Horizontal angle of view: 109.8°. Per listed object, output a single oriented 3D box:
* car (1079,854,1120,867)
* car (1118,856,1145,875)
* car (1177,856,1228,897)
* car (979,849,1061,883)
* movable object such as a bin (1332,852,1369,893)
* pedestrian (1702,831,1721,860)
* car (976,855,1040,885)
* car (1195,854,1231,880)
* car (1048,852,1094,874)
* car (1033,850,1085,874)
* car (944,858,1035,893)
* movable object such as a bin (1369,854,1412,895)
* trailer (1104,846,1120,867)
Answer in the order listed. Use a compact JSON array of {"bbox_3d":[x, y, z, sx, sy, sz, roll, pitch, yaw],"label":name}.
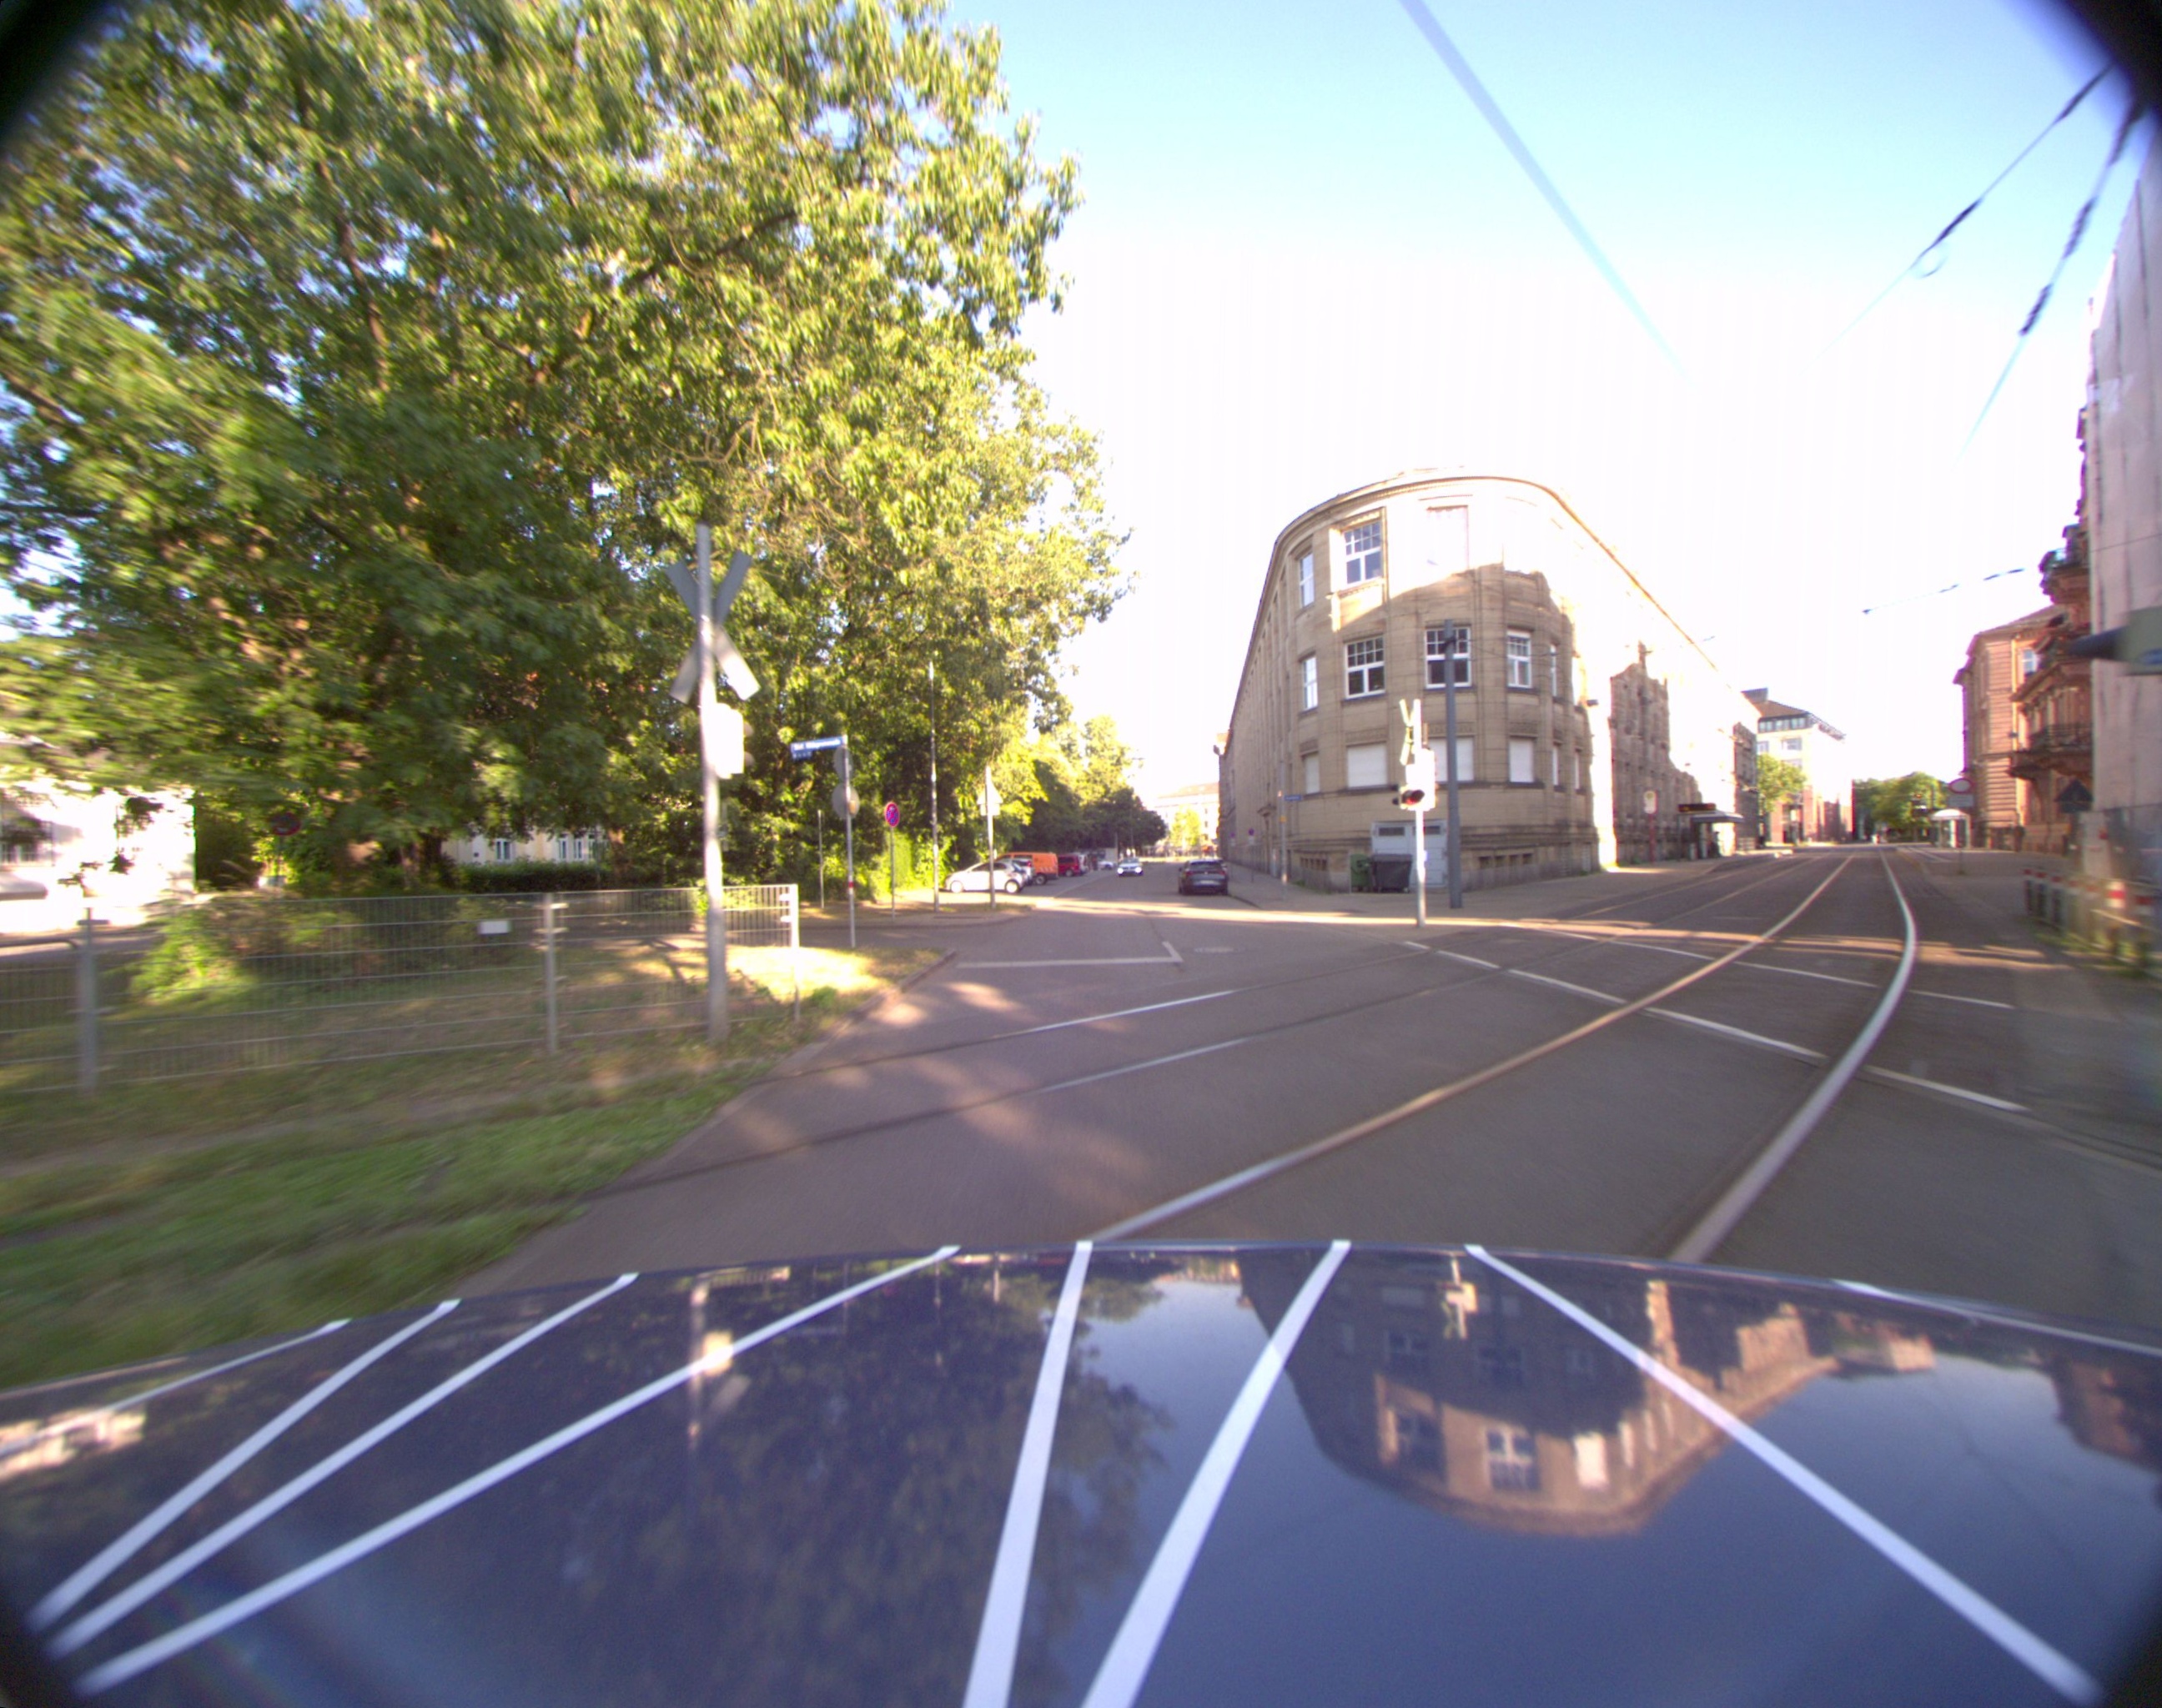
[{"bbox_3d":[2.143,0.735,87.092,4.439,1.458,1.712,-1,1,9],"label":"car"},{"bbox_3d":[4.193,0.894,62.297,1.686,1.445,4.106,-1,0,11],"label":"car"},{"bbox_3d":[4.857,0.862,30.801,1.747,1.439,4.210,-1,0,6],"label":"car"},{"bbox_3d":[-3.678,0.699,46.572,4.806,1.986,2.081,1,1,2],"label":"car"},{"bbox_3d":[10.132,0.696,28.621,1.147,1.477,1.629,-1,0,15],"label":"movable object such as a bin"},{"bbox_3d":[40.828,-0.550,49.176,0.823,1.825,0.750,-2,1,-36],"label":"pedestrian"},{"bbox_3d":[-4.174,0.913,43.873,3.403,1.622,1.680,1,1,6],"label":"car"},{"bbox_3d":[8.233,0.795,47.761,1.747,1.426,4.562,-2,0,5],"label":"car"},{"bbox_3d":[-0.852,0.756,64.922,3.607,1.873,1.785,0,1,10],"label":"car"},{"bbox_3d":[-1.791,0.643,62.965,3.978,1.852,1.921,0,1,11],"label":"car"},{"bbox_3d":[-4.275,0.980,35.857,3.996,1.538,1.735,1,1,2],"label":"car"},{"bbox_3d":[11.070,0.715,27.282,1.184,1.420,1.924,-1,0,15],"label":"movable object such as a bin"},{"bbox_3d":[3.974,0.246,97.895,1.600,2.625,3.705,-1,1,9],"label":"trailer"}]
